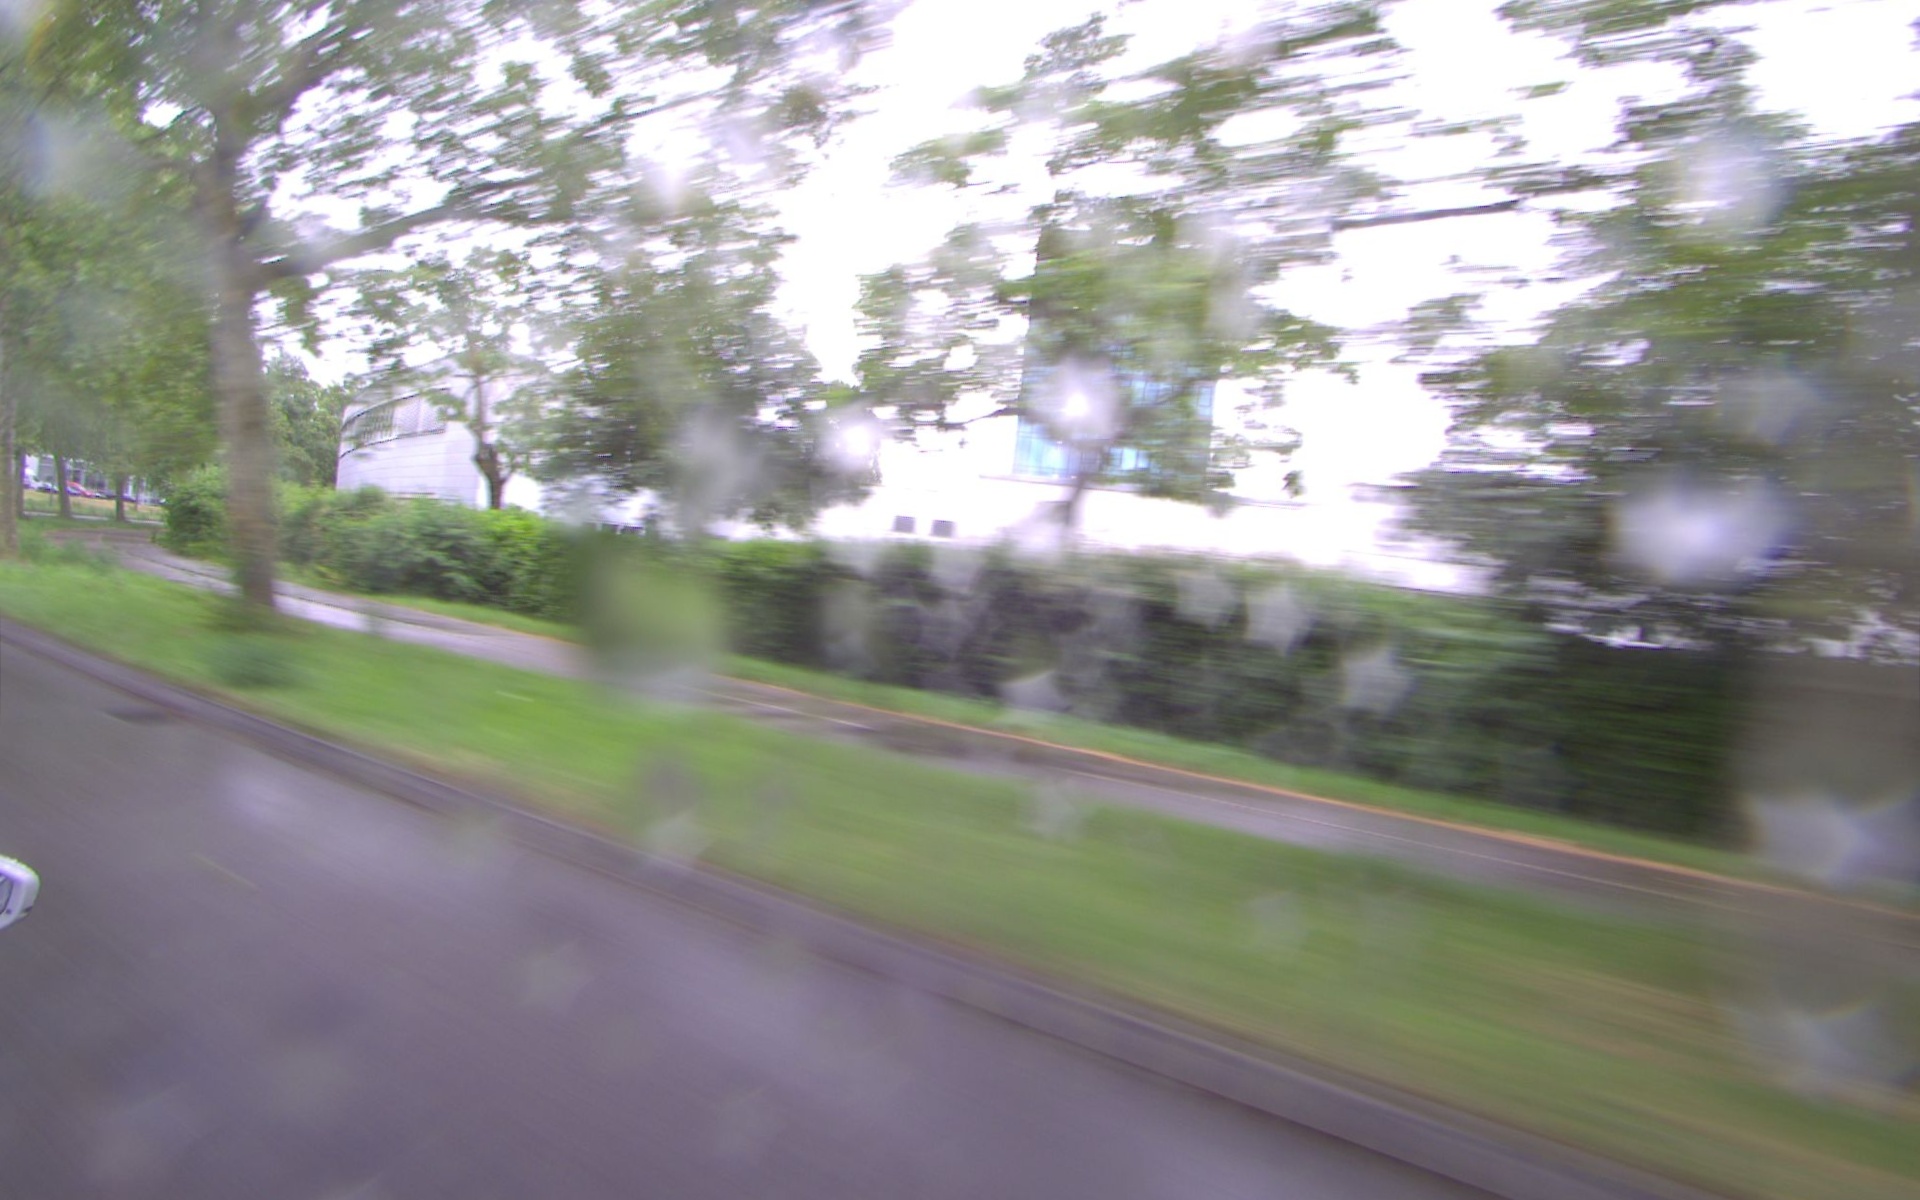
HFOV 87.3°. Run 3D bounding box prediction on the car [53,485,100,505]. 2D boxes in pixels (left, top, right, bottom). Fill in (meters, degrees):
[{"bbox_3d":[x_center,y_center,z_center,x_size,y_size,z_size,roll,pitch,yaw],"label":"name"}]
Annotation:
[{"bbox_3d":[-113.060,-13.410,128.712,3.949,1.575,1.842,11,1,-13],"label":"car"}]
